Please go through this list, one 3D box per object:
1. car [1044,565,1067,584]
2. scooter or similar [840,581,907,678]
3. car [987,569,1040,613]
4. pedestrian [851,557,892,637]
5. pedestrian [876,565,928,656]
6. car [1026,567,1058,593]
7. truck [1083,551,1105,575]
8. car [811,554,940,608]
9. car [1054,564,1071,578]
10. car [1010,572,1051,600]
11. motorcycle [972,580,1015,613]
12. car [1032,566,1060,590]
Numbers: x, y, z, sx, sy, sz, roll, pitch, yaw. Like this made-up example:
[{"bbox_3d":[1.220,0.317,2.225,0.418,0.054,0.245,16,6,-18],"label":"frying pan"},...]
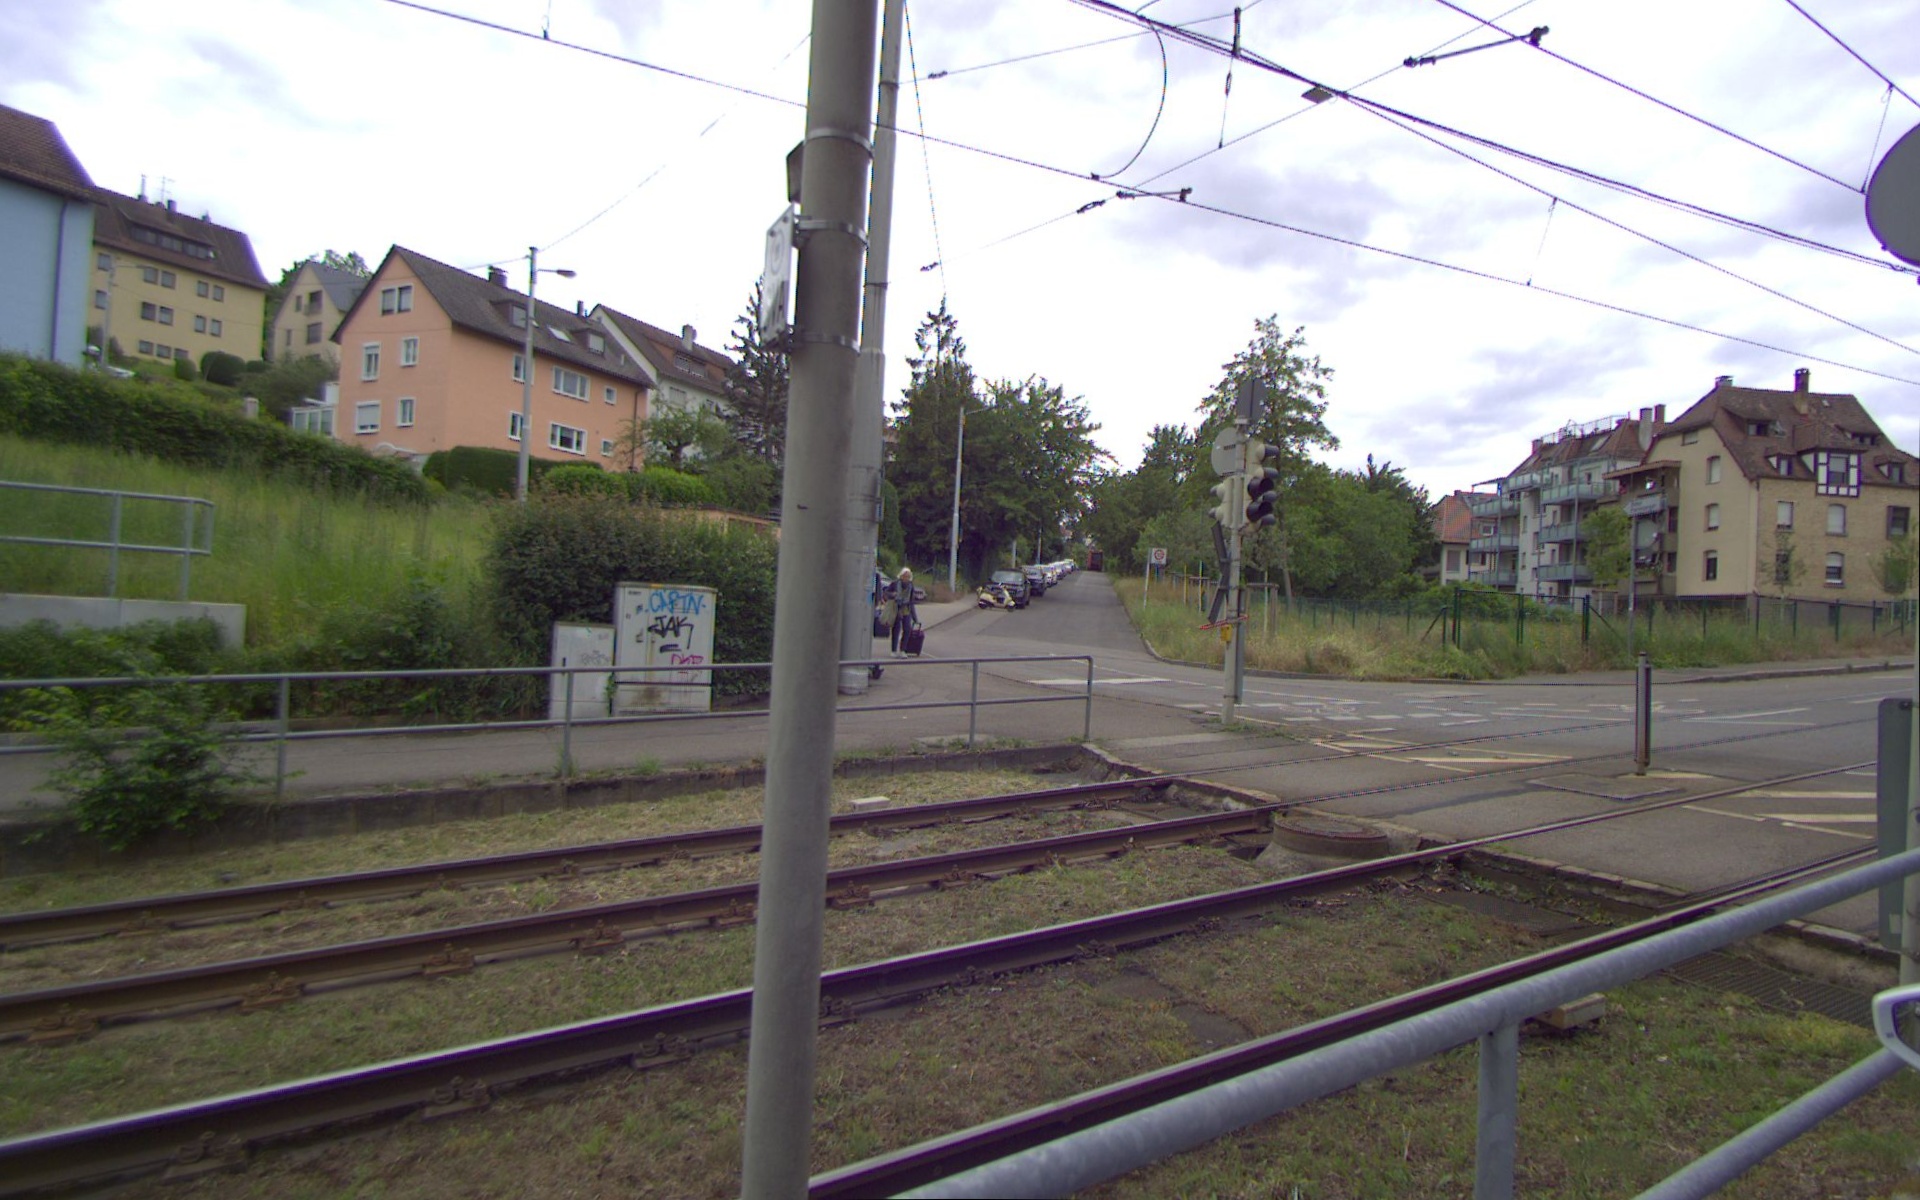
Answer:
[{"bbox_3d":[9.109,-2.404,95.833,1.800,1.680,4.134,1,0,10],"label":"car"},{"bbox_3d":[-1.314,0.418,15.083,0.413,1.306,1.402,1,4,-29],"label":"scooter or similar"},{"bbox_3d":[2.449,-0.446,44.658,1.937,1.713,4.452,2,3,8],"label":"car"},{"bbox_3d":[-2.030,-0.064,22.879,0.730,1.774,0.899,1,0,-16],"label":"pedestrian"},{"bbox_3d":[-1.044,0.185,18.021,0.744,1.595,0.750,1,0,-16],"label":"pedestrian"},{"bbox_3d":[6.046,-1.451,73.758,1.863,1.812,4.487,1,0,10],"label":"car"},{"bbox_3d":[22.844,-6.305,171.863,3.488,3.648,8.204,1,0,7],"label":"truck"},{"bbox_3d":[-3.447,-0.768,40.753,4.791,1.634,1.997,7,3,28],"label":"car"},{"bbox_3d":[12.756,-3.582,124.740,1.800,1.680,4.134,1,0,9],"label":"car"},{"bbox_3d":[4.141,-0.799,58.781,1.942,1.531,4.134,1,0,10],"label":"car"},{"bbox_3d":[1.382,-0.135,41.323,1.671,1.172,0.522,5,1,6],"label":"motorcycle"},{"bbox_3d":[6.786,-1.698,78.896,1.800,1.680,4.134,1,0,10],"label":"car"}]
